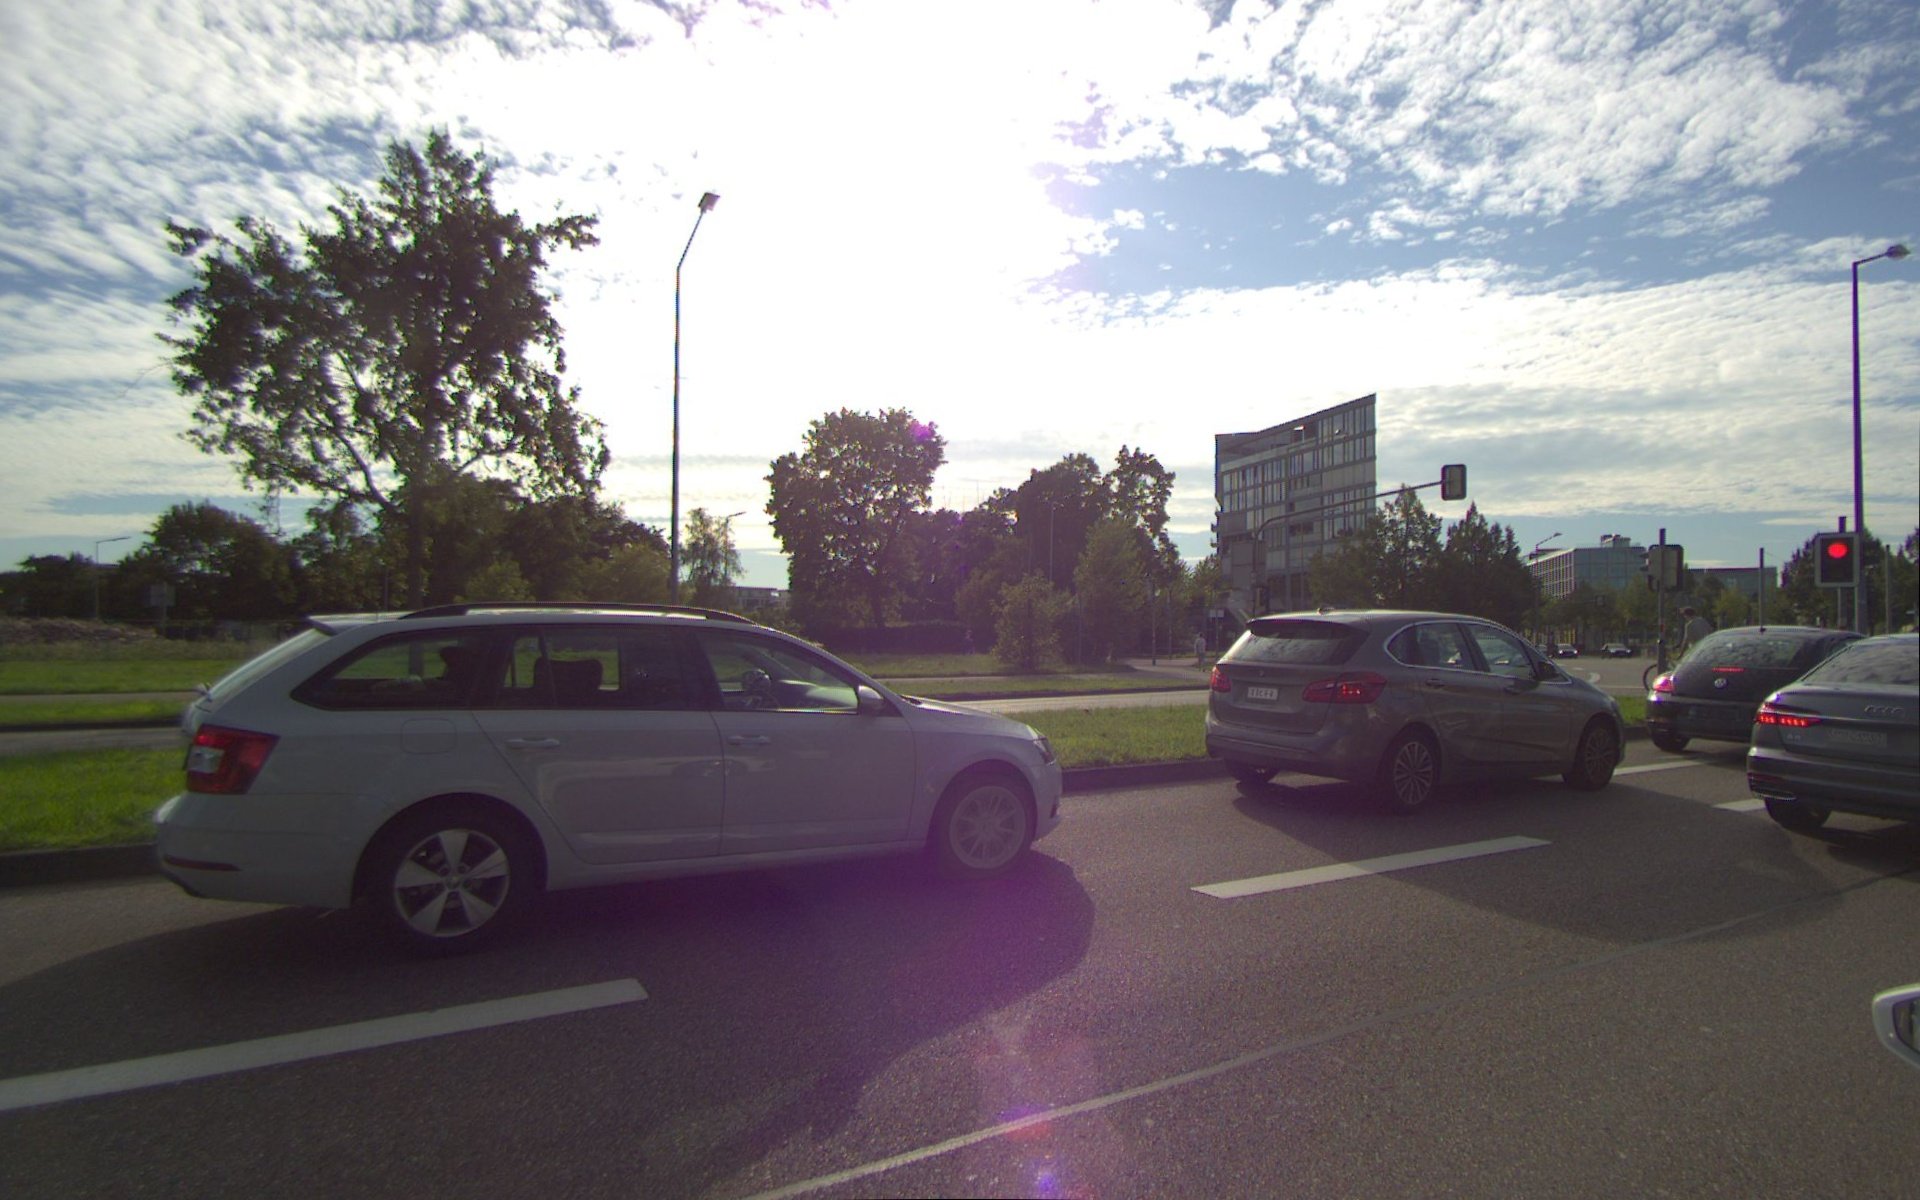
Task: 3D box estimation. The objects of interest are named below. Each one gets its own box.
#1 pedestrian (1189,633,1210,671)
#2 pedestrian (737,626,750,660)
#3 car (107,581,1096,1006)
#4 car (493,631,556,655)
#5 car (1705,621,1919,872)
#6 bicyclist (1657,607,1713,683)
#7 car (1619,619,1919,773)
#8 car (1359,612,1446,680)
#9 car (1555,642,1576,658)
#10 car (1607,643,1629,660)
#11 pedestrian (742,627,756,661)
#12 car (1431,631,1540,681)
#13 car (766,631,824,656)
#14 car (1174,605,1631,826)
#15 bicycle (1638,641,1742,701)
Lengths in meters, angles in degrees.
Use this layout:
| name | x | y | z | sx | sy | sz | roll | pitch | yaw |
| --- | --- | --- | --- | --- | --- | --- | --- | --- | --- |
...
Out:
| name | x | y | z | sx | sy | sz | roll | pitch | yaw |
| --- | --- | --- | --- | --- | --- | --- | --- | --- | --- |
| pedestrian | 10.266 | 2.221 | 43.116 | 0.610 | 1.589 | 0.650 | 2 | -2 | -37 |
| pedestrian | -12.879 | 2.551 | 59.770 | 0.675 | 2.040 | 0.641 | 0 | -2 | -5 |
| car | -1.543 | 0.762 | 5.462 | 4.429 | 1.518 | 1.690 | 2 | -1 | -31 |
| car | -33.783 | 3.324 | 78.036 | 4.045 | 1.770 | 2.002 | 0 | -2 | 10 |
| car | 7.670 | 0.960 | 7.407 | 4.559 | 1.502 | 1.881 | 2 | -1 | -31 |
| bicyclist | 15.276 | 0.941 | 21.168 | 0.840 | 1.546 | 0.736 | -2 | -3 | 44 |
| car | 9.685 | 1.035 | 11.896 | 3.766 | 1.543 | 1.672 | 2 | -1 | -31 |
| car | 16.250 | 1.705 | 36.690 | 1.966 | 2.264 | 5.910 | -3 | -4 | 33 |
| car | 58.413 | 4.823 | 96.878 | 1.570 | 1.433 | 3.661 | -1 | -2 | 33 |
| car | 59.993 | 4.648 | 91.599 | 1.593 | 1.484 | 3.720 | -1 | -2 | 34 |
| pedestrian | -12.754 | 2.653 | 60.695 | 0.723 | 2.040 | 0.739 | 0 | -2 | -6 |
| car | 16.226 | 1.753 | 30.935 | 1.881 | 1.428 | 4.183 | -4 | -5 | 43 |
| car | -10.890 | 2.875 | 66.336 | 3.431 | 1.613 | 1.594 | 0 | -2 | 17 |
| car | 3.995 | 0.880 | 8.938 | 3.971 | 1.579 | 1.721 | 2 | -1 | -30 |
| bicycle | 15.321 | 1.471 | 21.108 | 1.707 | 1.179 | 0.652 | -1 | -3 | 45 |
